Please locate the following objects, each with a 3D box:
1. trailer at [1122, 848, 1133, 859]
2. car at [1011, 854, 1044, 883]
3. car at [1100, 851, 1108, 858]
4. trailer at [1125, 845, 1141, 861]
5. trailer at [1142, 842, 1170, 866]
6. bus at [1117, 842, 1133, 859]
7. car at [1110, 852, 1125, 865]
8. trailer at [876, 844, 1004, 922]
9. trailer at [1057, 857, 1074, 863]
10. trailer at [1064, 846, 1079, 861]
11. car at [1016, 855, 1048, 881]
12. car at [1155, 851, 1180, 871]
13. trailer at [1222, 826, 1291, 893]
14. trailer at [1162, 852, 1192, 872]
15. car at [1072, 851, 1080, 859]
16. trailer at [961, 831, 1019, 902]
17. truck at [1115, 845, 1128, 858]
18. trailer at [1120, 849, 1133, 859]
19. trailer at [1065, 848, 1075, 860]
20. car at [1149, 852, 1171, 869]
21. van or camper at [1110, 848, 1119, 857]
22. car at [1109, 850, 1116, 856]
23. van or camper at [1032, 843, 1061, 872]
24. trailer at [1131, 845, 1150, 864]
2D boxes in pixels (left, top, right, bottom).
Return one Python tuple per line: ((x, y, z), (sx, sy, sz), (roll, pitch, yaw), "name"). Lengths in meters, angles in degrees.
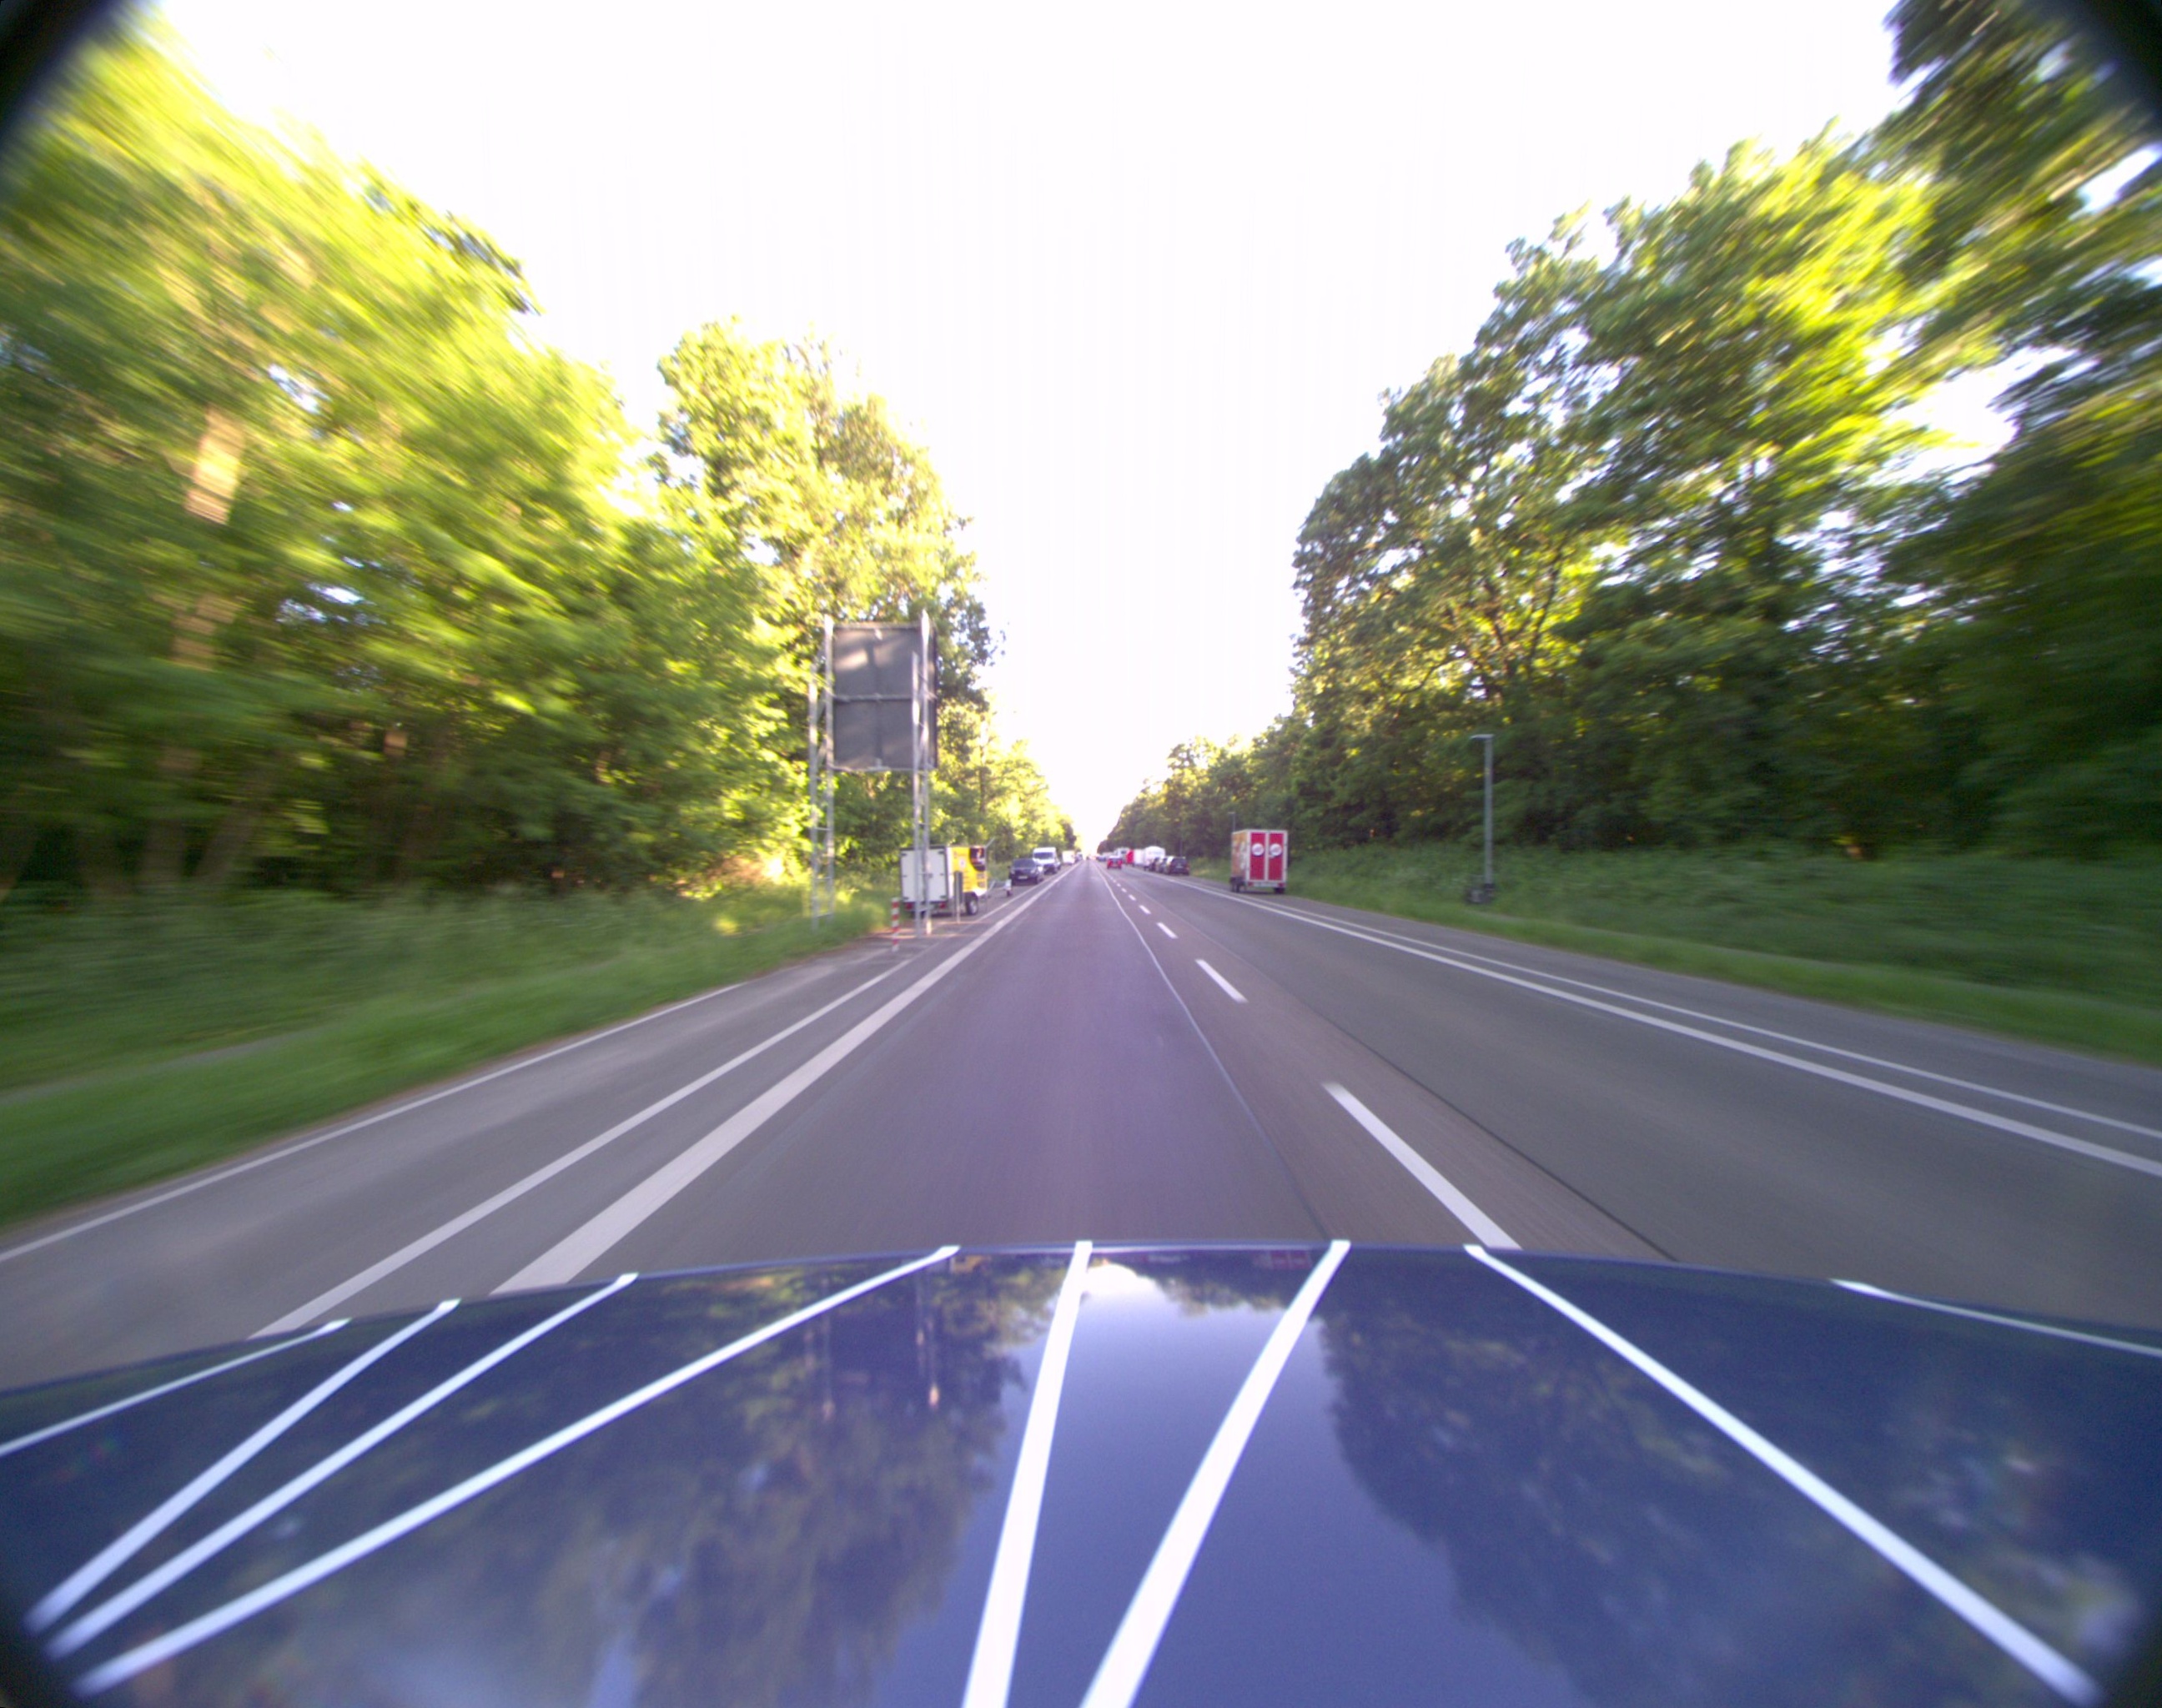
((8.800, -0.118, 142.621), (1.857, 2.002, 3.561), (2, 0, 1), "trailer")
((-3.062, 0.822, 43.791), (1.590, 1.521, 3.011), (-3, 0, 1), "car")
((5.809, 0.088, 192.622), (1.824, 1.524, 4.530), (0, 1, 1), "car")
((7.996, -0.150, 117.732), (2.072, 2.466, 3.560), (0, 0, -3), "trailer")
((7.931, 0.000, 80.613), (2.352, 2.514, 4.343), (0, 0, -3), "trailer")
((9.457, -0.864, 164.926), (2.835, 3.411, 11.199), (-2, 1, 1), "bus")
((4.189, 0.534, 88.047), (1.608, 1.412, 3.518), (1, 0, 1), "car")
((-3.882, 0.755, 21.684), (1.964, 2.011, 3.849), (-1, 0, 18), "trailer")
((-2.499, 0.992, 124.218), (2.439, 0.794, 5.659), (-2, 1, 1), "trailer")
((-2.016, -0.112, 160.941), (2.928, 2.825, 9.881), (-4, 1, 0), "trailer")
((-3.107, 0.877, 48.817), (1.739, 1.479, 4.400), (-3, 0, -1), "car")
((7.661, 0.595, 67.660), (1.675, 1.565, 5.126), (2, 1, 1), "car")
((7.310, 0.199, 32.088), (1.998, 2.606, 4.085), (-1, 1, 1), "trailer")
((7.665, 0.619, 61.112), (1.845, 1.457, 4.466), (-1, 0, 1), "trailer")
((-1.146, 0.164, 178.093), (1.804, 1.681, 4.601), (-2, 1, 1), "car")
((-3.410, 0.442, 29.208), (1.617, 2.494, 3.999), (-2, 1, 0), "trailer")
((9.341, -0.556, 176.199), (2.489, 2.807, 8.424), (-2, 0, 1), "truck")
((9.284, -0.042, 156.171), (2.434, 1.903, 6.263), (-2, 0, 1), "trailer")
((-2.049, 0.073, 138.471), (1.759, 2.149, 3.539), (-1, 0, 0), "trailer")
((7.654, 0.578, 73.849), (1.675, 1.486, 4.194), (2, 1, 1), "car")
((9.896, -0.556, 224.657), (2.253, 2.599, 5.984), (-1, 0, 1), "van or camper")
((9.856, -0.195, 235.470), (1.998, 1.797, 4.144), (-2, 0, 1), "car")
((-3.068, 0.271, 69.100), (2.131, 2.468, 6.305), (-1, 0, 2), "van or camper")
((8.045, 0.021, 102.817), (2.072, 2.466, 3.560), (0, 0, -3), "trailer")
